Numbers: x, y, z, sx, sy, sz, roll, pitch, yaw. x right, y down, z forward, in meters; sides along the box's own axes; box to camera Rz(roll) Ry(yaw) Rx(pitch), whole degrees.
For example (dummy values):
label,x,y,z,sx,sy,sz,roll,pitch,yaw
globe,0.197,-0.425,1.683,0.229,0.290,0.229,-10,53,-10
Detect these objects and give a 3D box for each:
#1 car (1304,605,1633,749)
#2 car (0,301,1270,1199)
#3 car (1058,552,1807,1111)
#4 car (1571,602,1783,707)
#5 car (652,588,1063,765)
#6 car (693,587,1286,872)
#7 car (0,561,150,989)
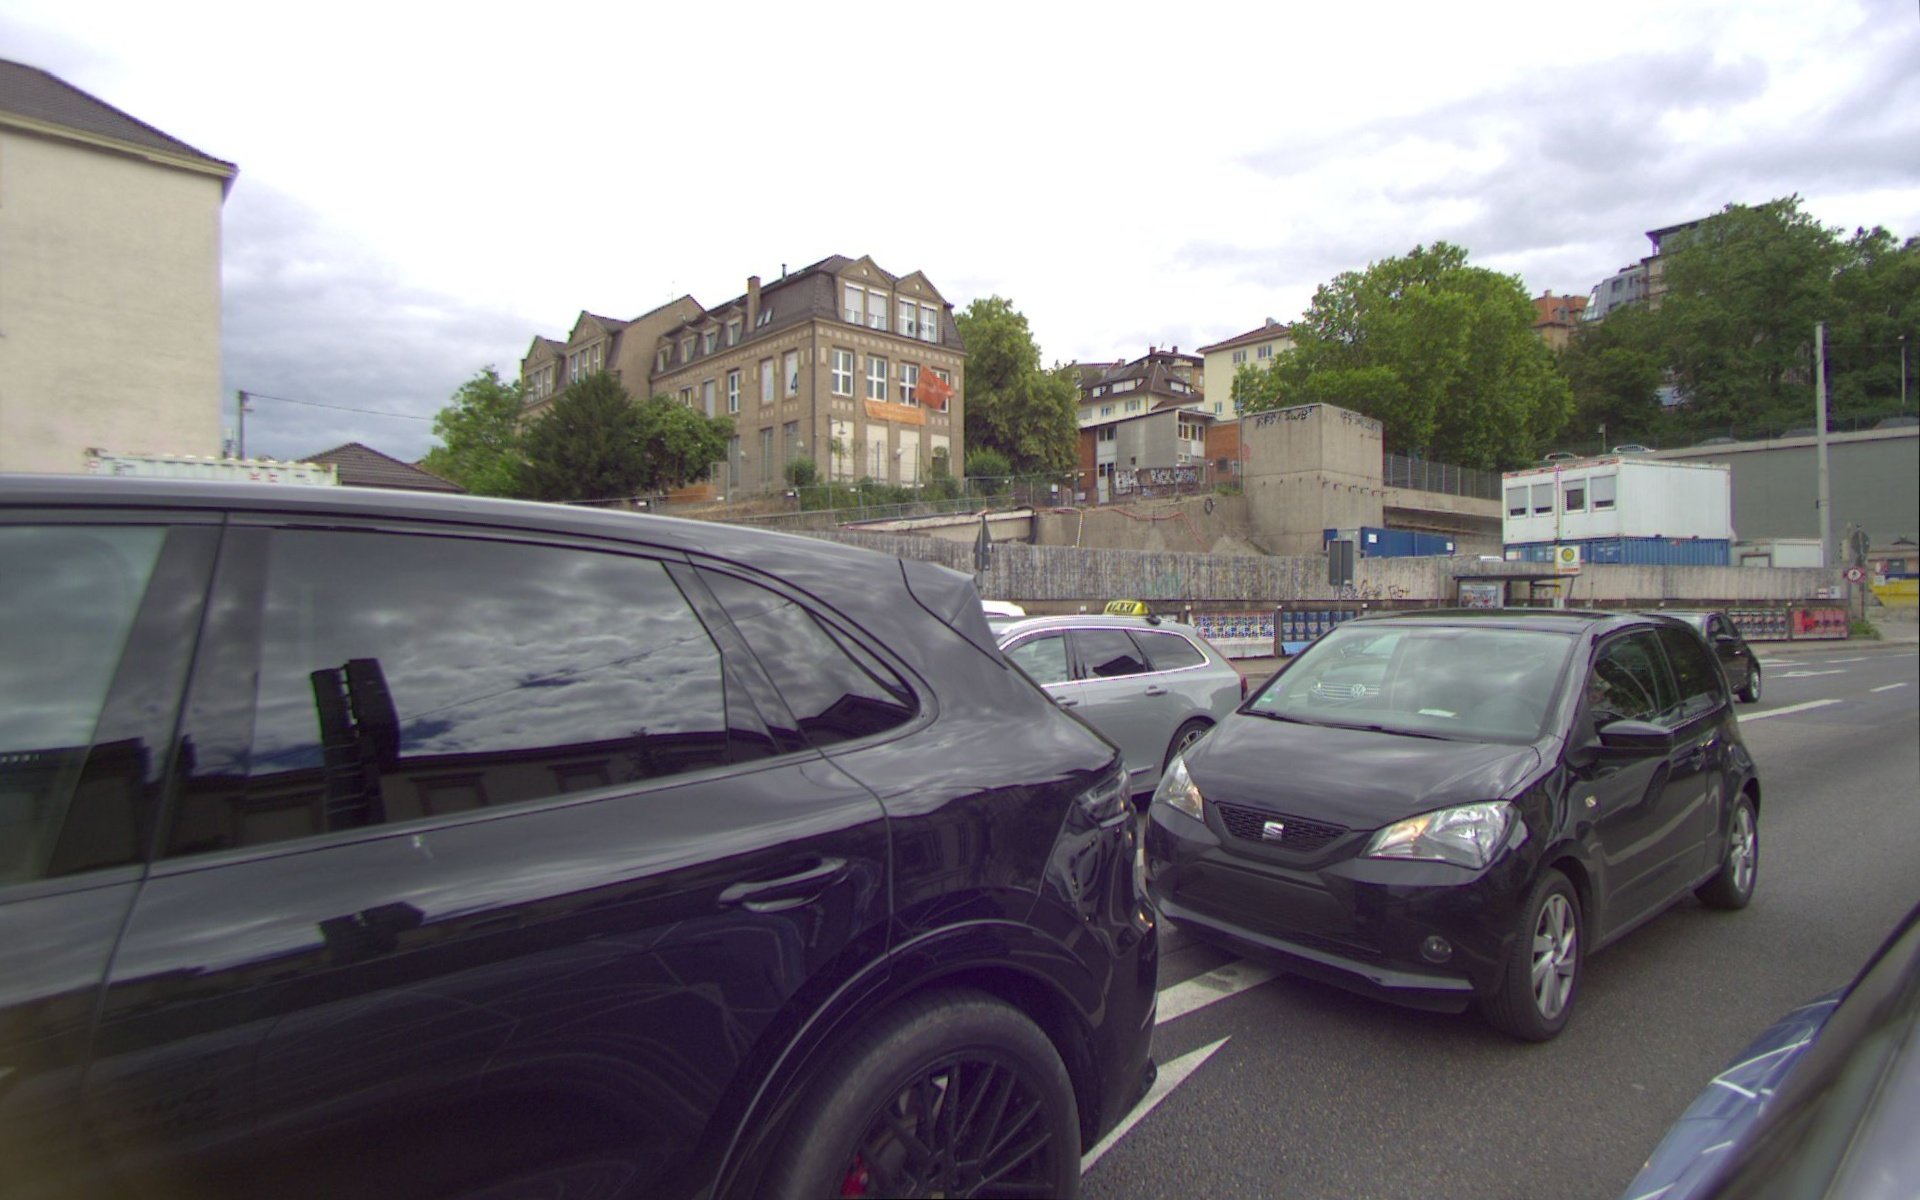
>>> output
label,x,y,z,sx,sy,sz,roll,pitch,yaw
car,6.020,0.764,11.801,4.139,1.381,1.827,1,0,-38
car,-1.661,0.553,1.662,4.497,1.689,1.998,-1,0,-39
car,2.408,0.628,4.714,3.841,1.575,1.661,-1,0,-39
car,11.407,0.788,16.040,3.711,1.478,1.721,1,-2,-38
car,-0.943,0.630,10.598,4.004,1.484,1.824,-1,0,-42
car,0.396,0.654,7.335,4.142,1.484,1.825,-1,0,-40
car,-5.066,0.634,3.453,3.581,1.529,1.826,-1,0,-39
